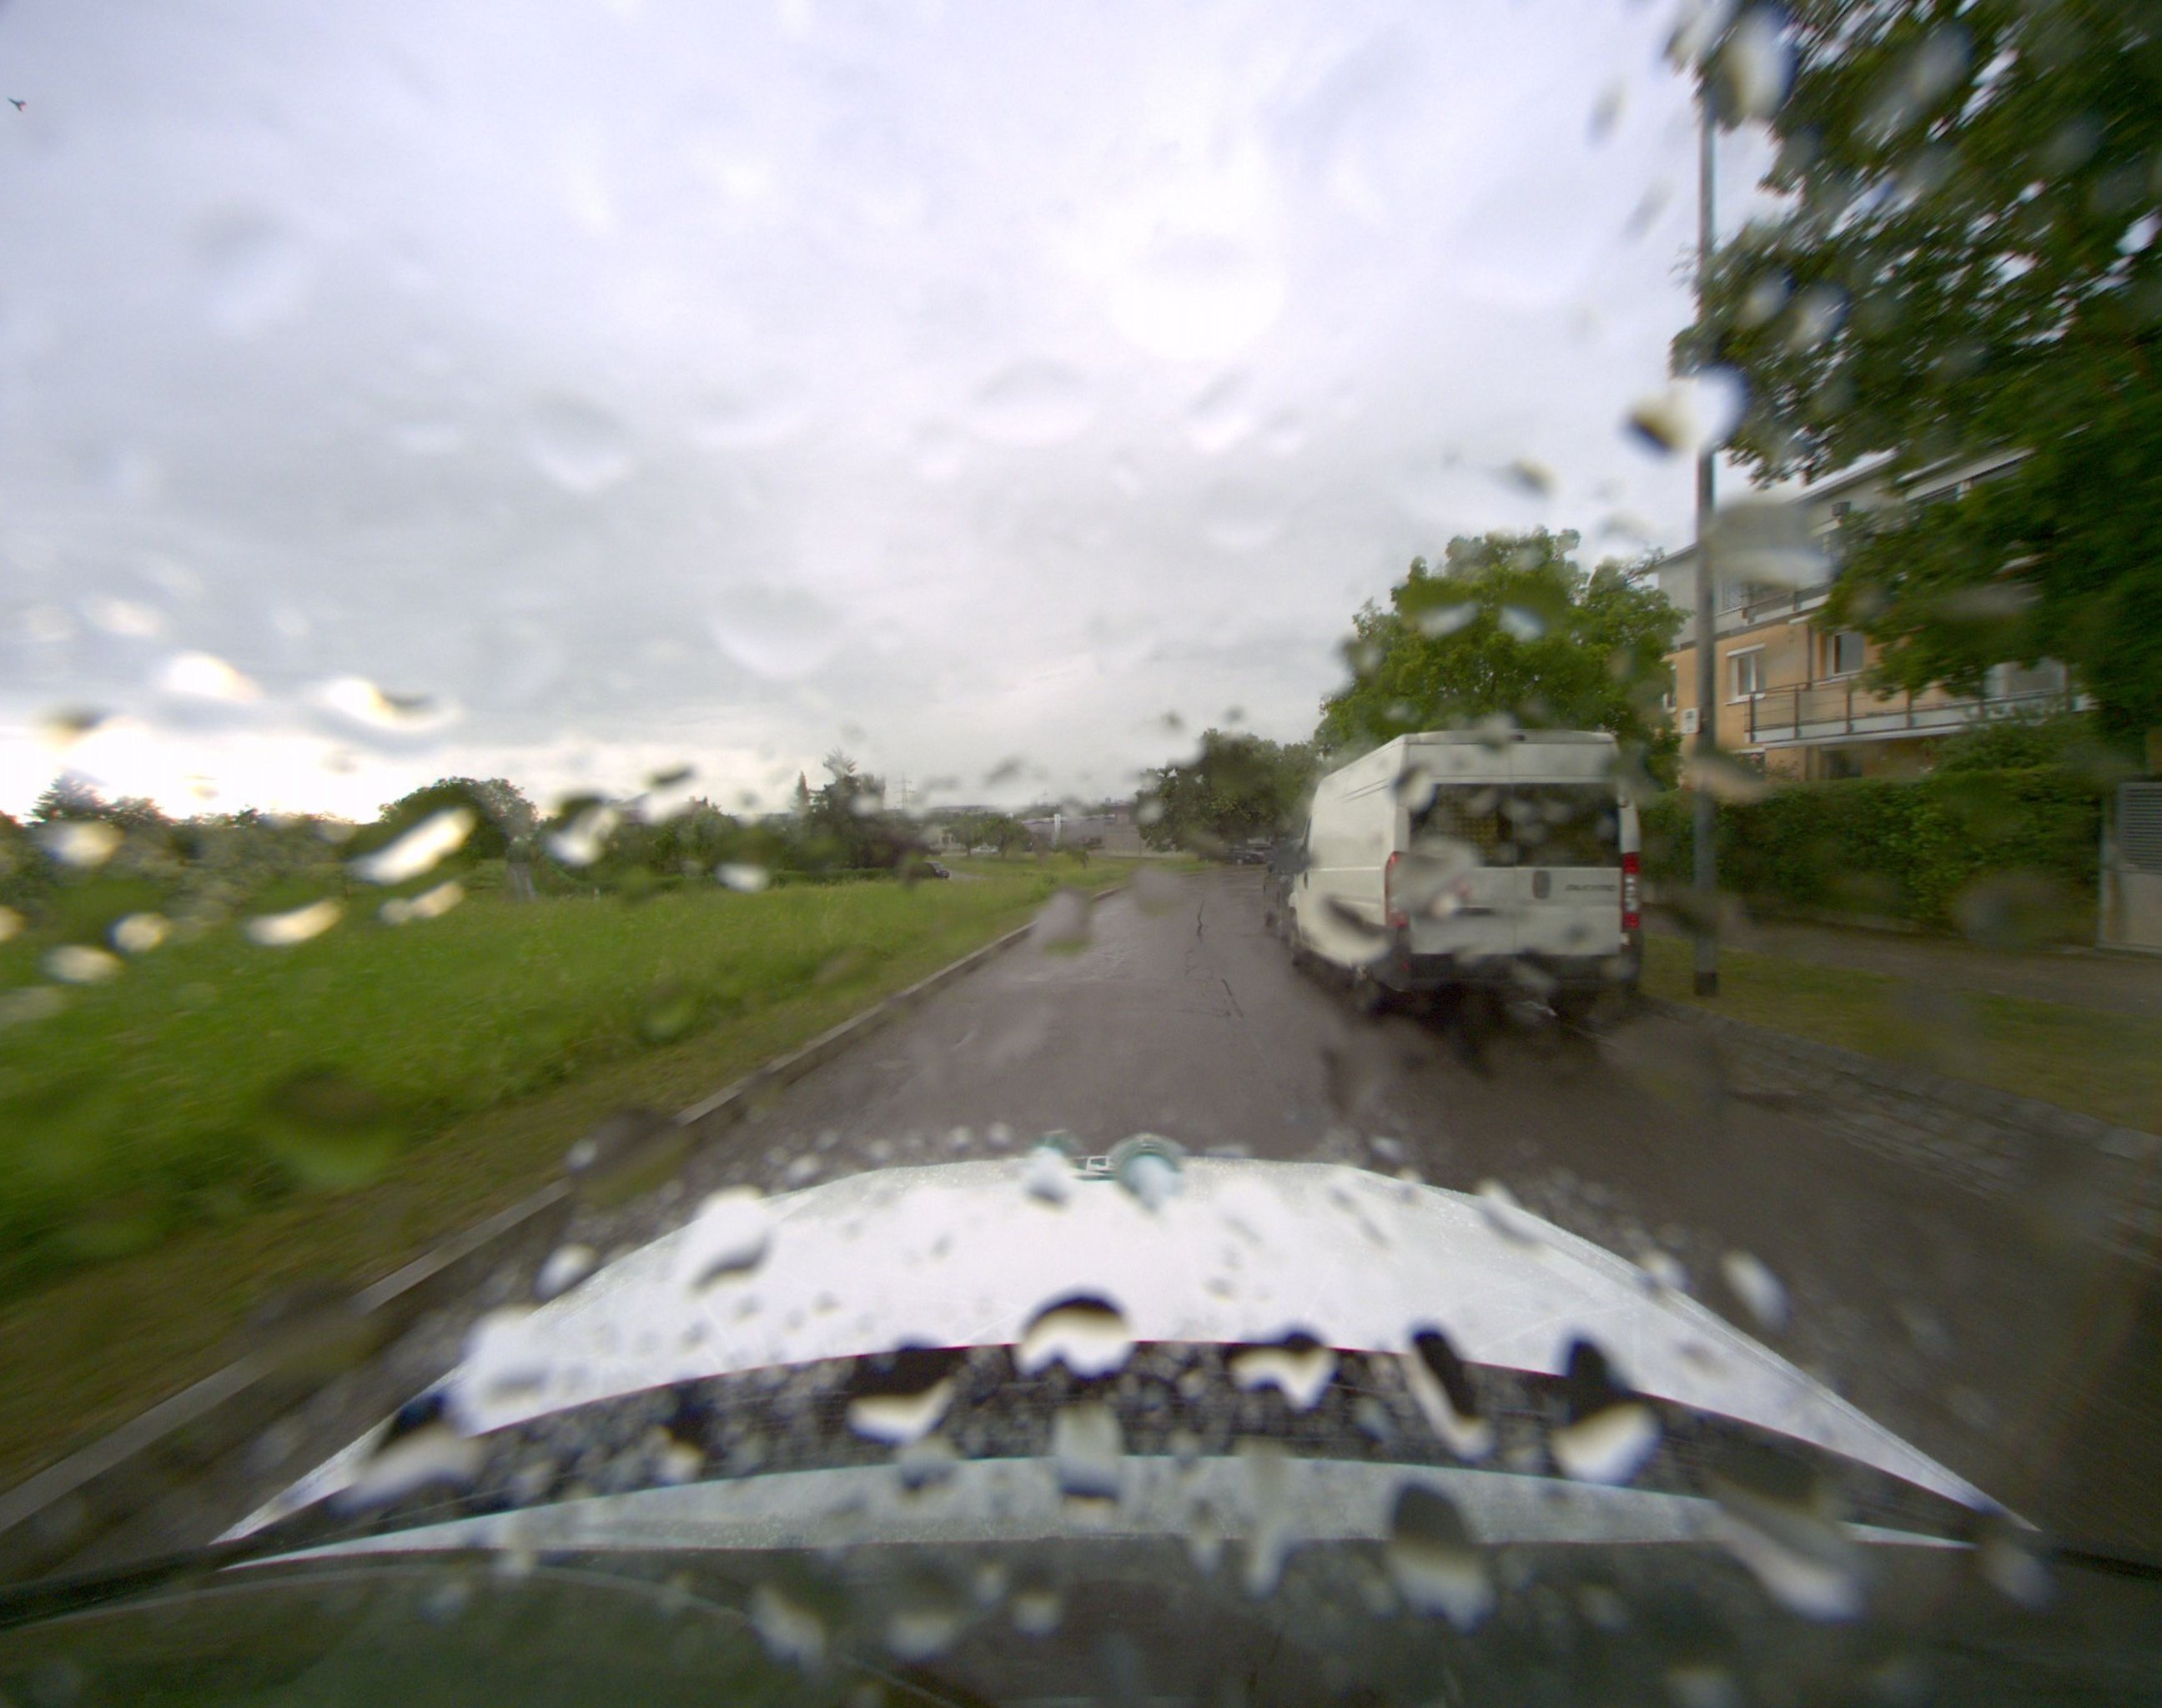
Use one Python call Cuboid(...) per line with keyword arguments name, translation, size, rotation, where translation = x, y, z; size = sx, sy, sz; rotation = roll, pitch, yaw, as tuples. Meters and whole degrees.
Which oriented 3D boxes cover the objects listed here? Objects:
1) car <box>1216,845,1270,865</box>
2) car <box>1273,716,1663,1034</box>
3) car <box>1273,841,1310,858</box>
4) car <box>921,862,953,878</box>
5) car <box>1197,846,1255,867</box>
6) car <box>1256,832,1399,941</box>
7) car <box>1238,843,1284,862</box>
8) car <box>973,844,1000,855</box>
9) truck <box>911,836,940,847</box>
Cuboid(name="car", translation=(13.072, 0.099, 65.782), size=(3.953, 1.360, 1.864), rotation=(-3, 0, 20))
Cuboid(name="car", translation=(3.694, 0.164, 9.192), size=(2.108, 2.467, 5.516), rotation=(-1, 0, 4))
Cuboid(name="car", translation=(22.039, -0.461, 85.260), size=(3.529, 1.605, 1.702), rotation=(-3, 0, 23))
Cuboid(name="car", translation=(-16.157, 1.787, 91.378), size=(1.790, 1.596, 3.955), rotation=(-3, 2, -38))
Cuboid(name="car", translation=(11.388, 0.191, 63.907), size=(4.130, 1.355, 1.872), rotation=(-3, 0, 20))
Cuboid(name="car", translation=(4.389, 0.489, 15.189), size=(1.799, 1.703, 4.609), rotation=(-1, 1, 7))
Cuboid(name="car", translation=(16.185, -0.147, 73.246), size=(3.837, 1.547, 1.782), rotation=(-2, 0, 20))
Cuboid(name="car", translation=(-15.874, -0.771, 136.763), size=(4.291, 1.701, 1.779), rotation=(0, 2, -32))
Cuboid(name="truck", translation=(-32.135, -2.597, 168.157), size=(5.348, 2.308, 2.411), rotation=(-1, 3, -32))
